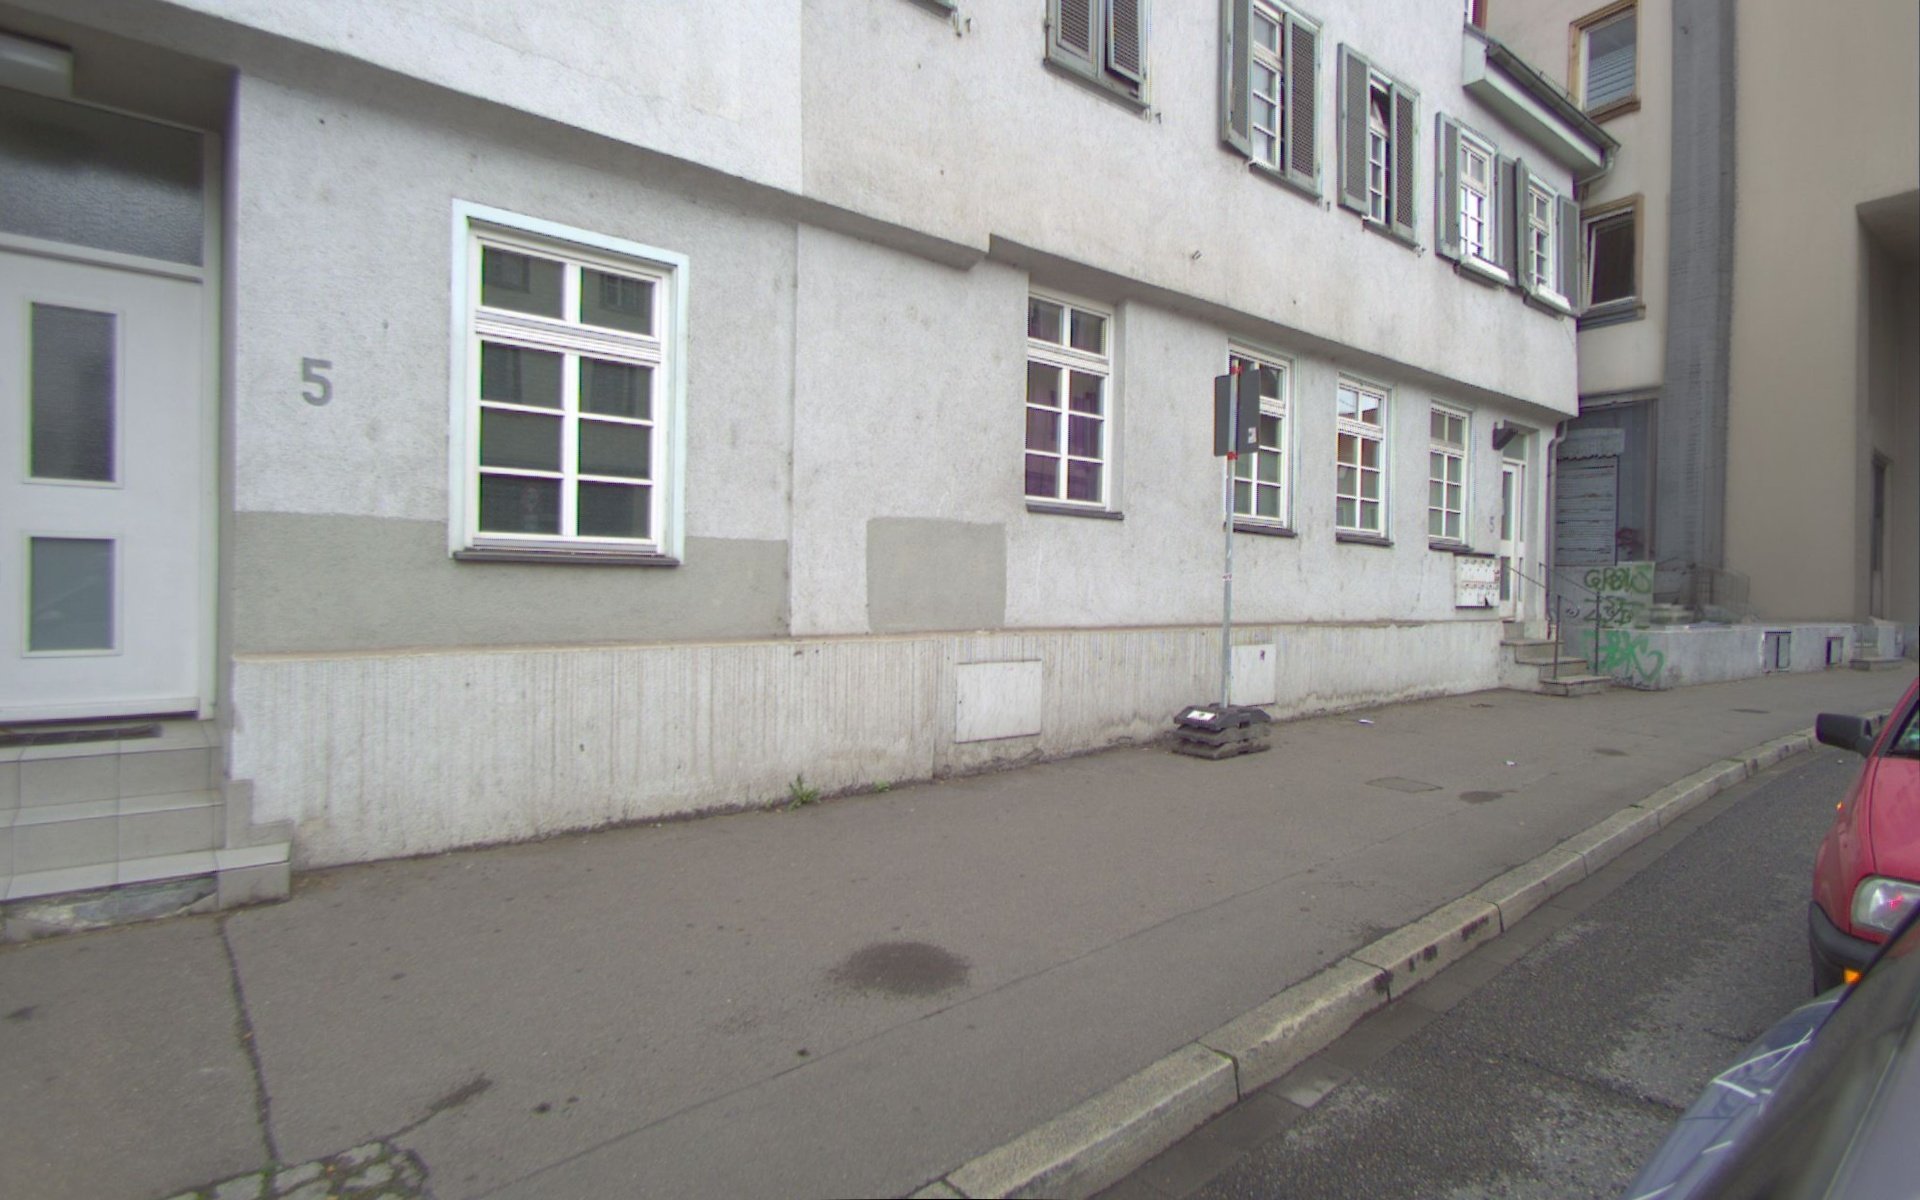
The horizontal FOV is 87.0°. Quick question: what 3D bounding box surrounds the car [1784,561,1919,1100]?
[{"bbox_3d":[4.456,0.642,3.535,3.929,1.443,1.791,1,0,-41],"label":"car"}]
